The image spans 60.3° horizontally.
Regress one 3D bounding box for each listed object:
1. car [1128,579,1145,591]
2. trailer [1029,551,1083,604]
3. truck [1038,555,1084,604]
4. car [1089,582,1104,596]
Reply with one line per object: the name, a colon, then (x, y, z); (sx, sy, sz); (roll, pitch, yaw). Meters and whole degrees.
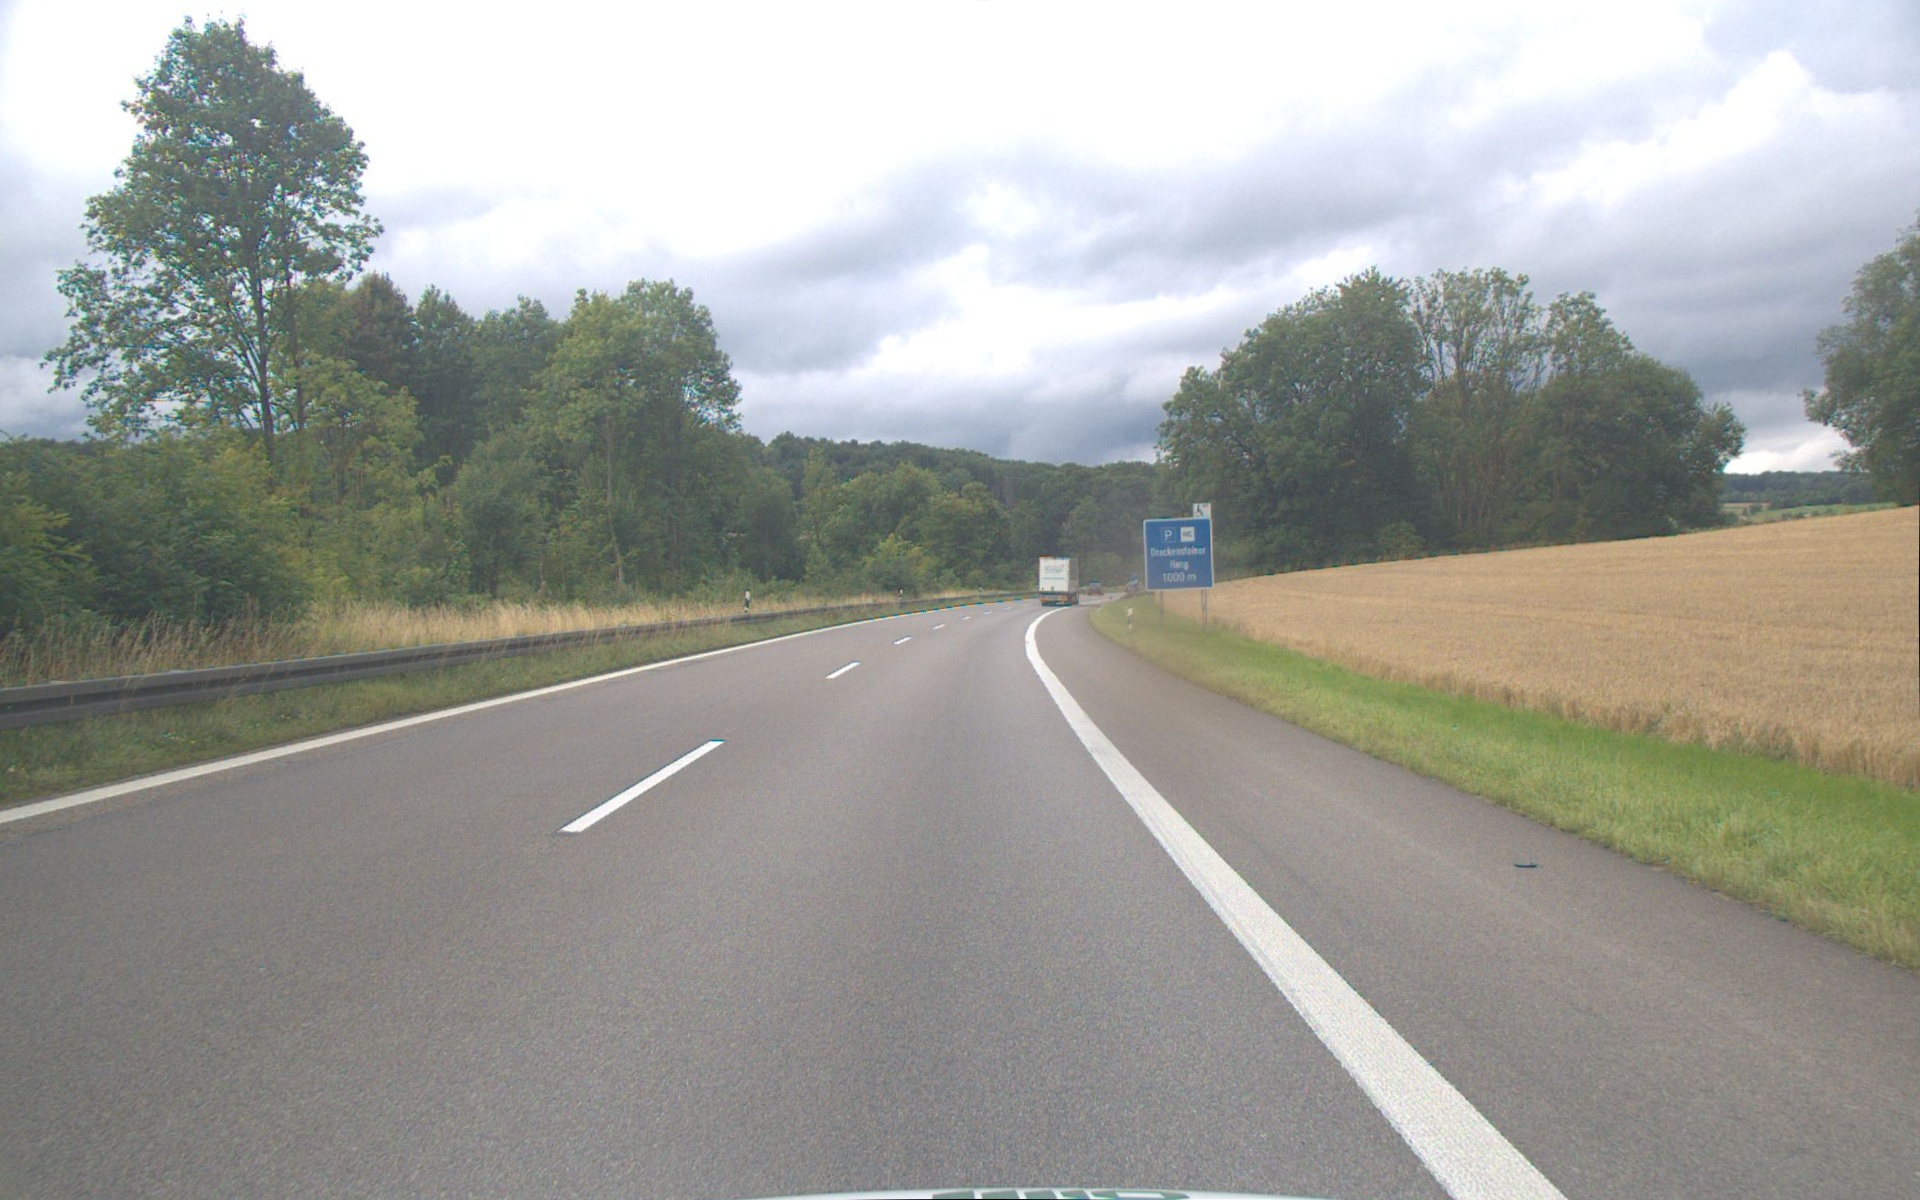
car: (22.405, -1.883, 209.936); (1.951, 1.575, 4.003); (-1, 0, 8)
trailer: (8.413, -1.828, 142.642); (3.725, 4.248, 14.818); (1, 0, 7)
truck: (9.202, -1.790, 149.509); (3.707, 4.204, 8.270); (1, 0, 6)
car: (18.343, -1.441, 222.287); (1.862, 1.826, 4.003); (1, 0, 8)
